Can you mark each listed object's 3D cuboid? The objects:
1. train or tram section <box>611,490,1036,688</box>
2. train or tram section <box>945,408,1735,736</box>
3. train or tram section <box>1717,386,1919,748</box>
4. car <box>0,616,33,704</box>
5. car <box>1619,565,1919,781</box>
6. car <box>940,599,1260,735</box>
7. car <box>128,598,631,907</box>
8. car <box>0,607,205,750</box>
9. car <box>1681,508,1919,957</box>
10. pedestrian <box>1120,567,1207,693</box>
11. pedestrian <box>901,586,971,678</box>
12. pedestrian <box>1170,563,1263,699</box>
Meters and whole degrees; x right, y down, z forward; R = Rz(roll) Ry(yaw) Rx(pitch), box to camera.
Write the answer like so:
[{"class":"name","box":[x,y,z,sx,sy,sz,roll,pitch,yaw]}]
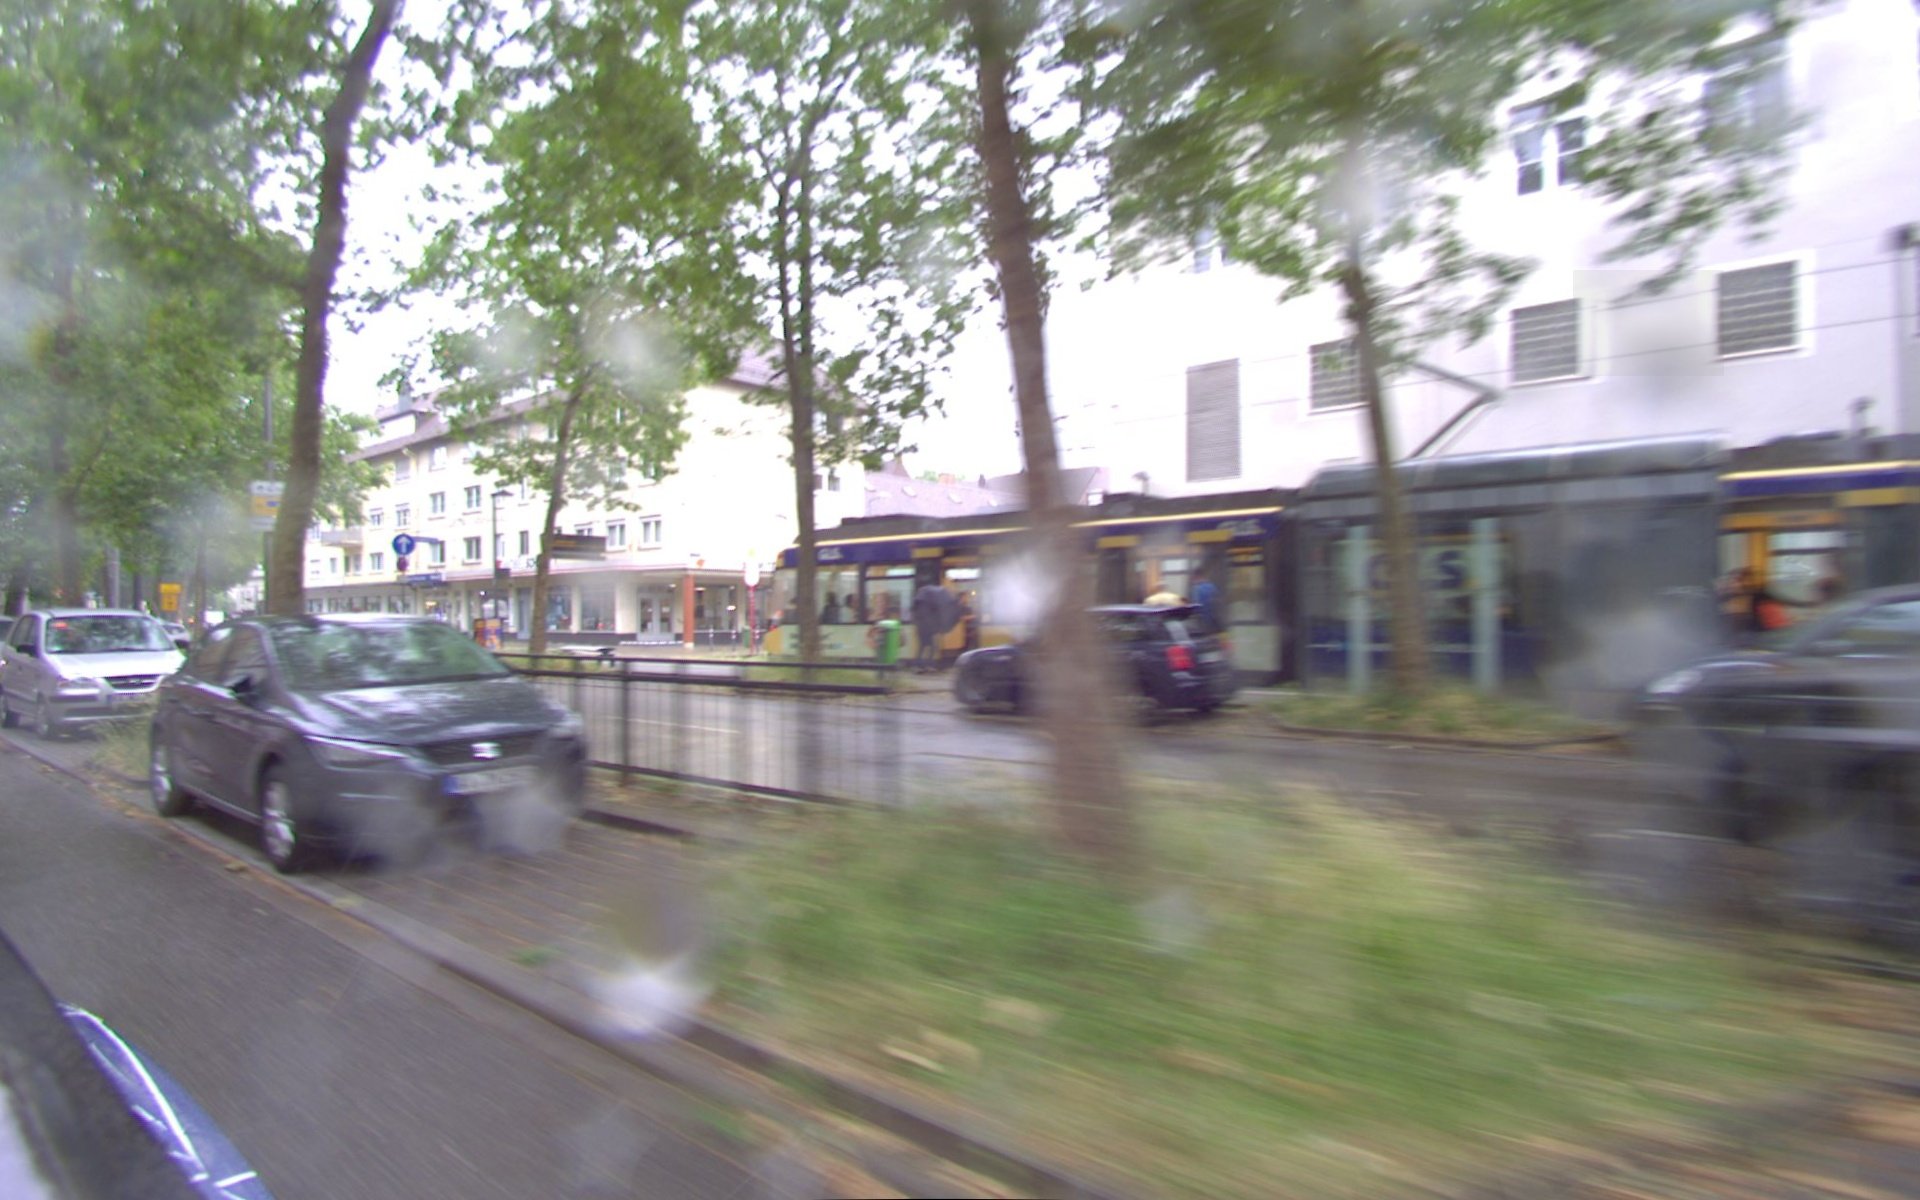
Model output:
[{"class":"train or tram section","box":[-3.748,-0.158,23.648,11.544,3.669,2.870,-1,0,41]},{"class":"train or tram section","box":[5.037,-0.272,16.175,11.544,3.669,2.870,-1,0,41]},{"class":"train or tram section","box":[13.795,-0.385,8.674,11.544,3.669,2.870,-1,0,41]},{"class":"car","box":[-18.782,1.119,19.229,1.641,1.588,3.424,0,-1,-44]},{"class":"car","box":[7.633,0.514,7.923,3.970,1.520,1.656,-1,2,40]},{"class":"car","box":[1.707,0.774,12.919,3.702,1.395,1.656,-1,2,40]},{"class":"car","box":[-4.097,0.777,6.857,4.002,1.493,1.710,-2,-1,40]},{"class":"car","box":[-11.056,0.909,12.936,3.325,1.588,1.552,-2,-1,40]},{"class":"car","box":[4.961,0.473,3.714,3.645,1.675,1.655,-1,-1,40]},{"class":"pedestrian","box":[2.996,0.427,14.976,0.945,1.797,0.820,0,-1,-19]},{"class":"pedestrian","box":[-0.441,0.570,18.210,0.962,1.607,0.806,-2,-1,43]},{"class":"pedestrian","box":[3.509,0.409,13.905,0.946,1.797,0.819,0,-1,-12]}]
